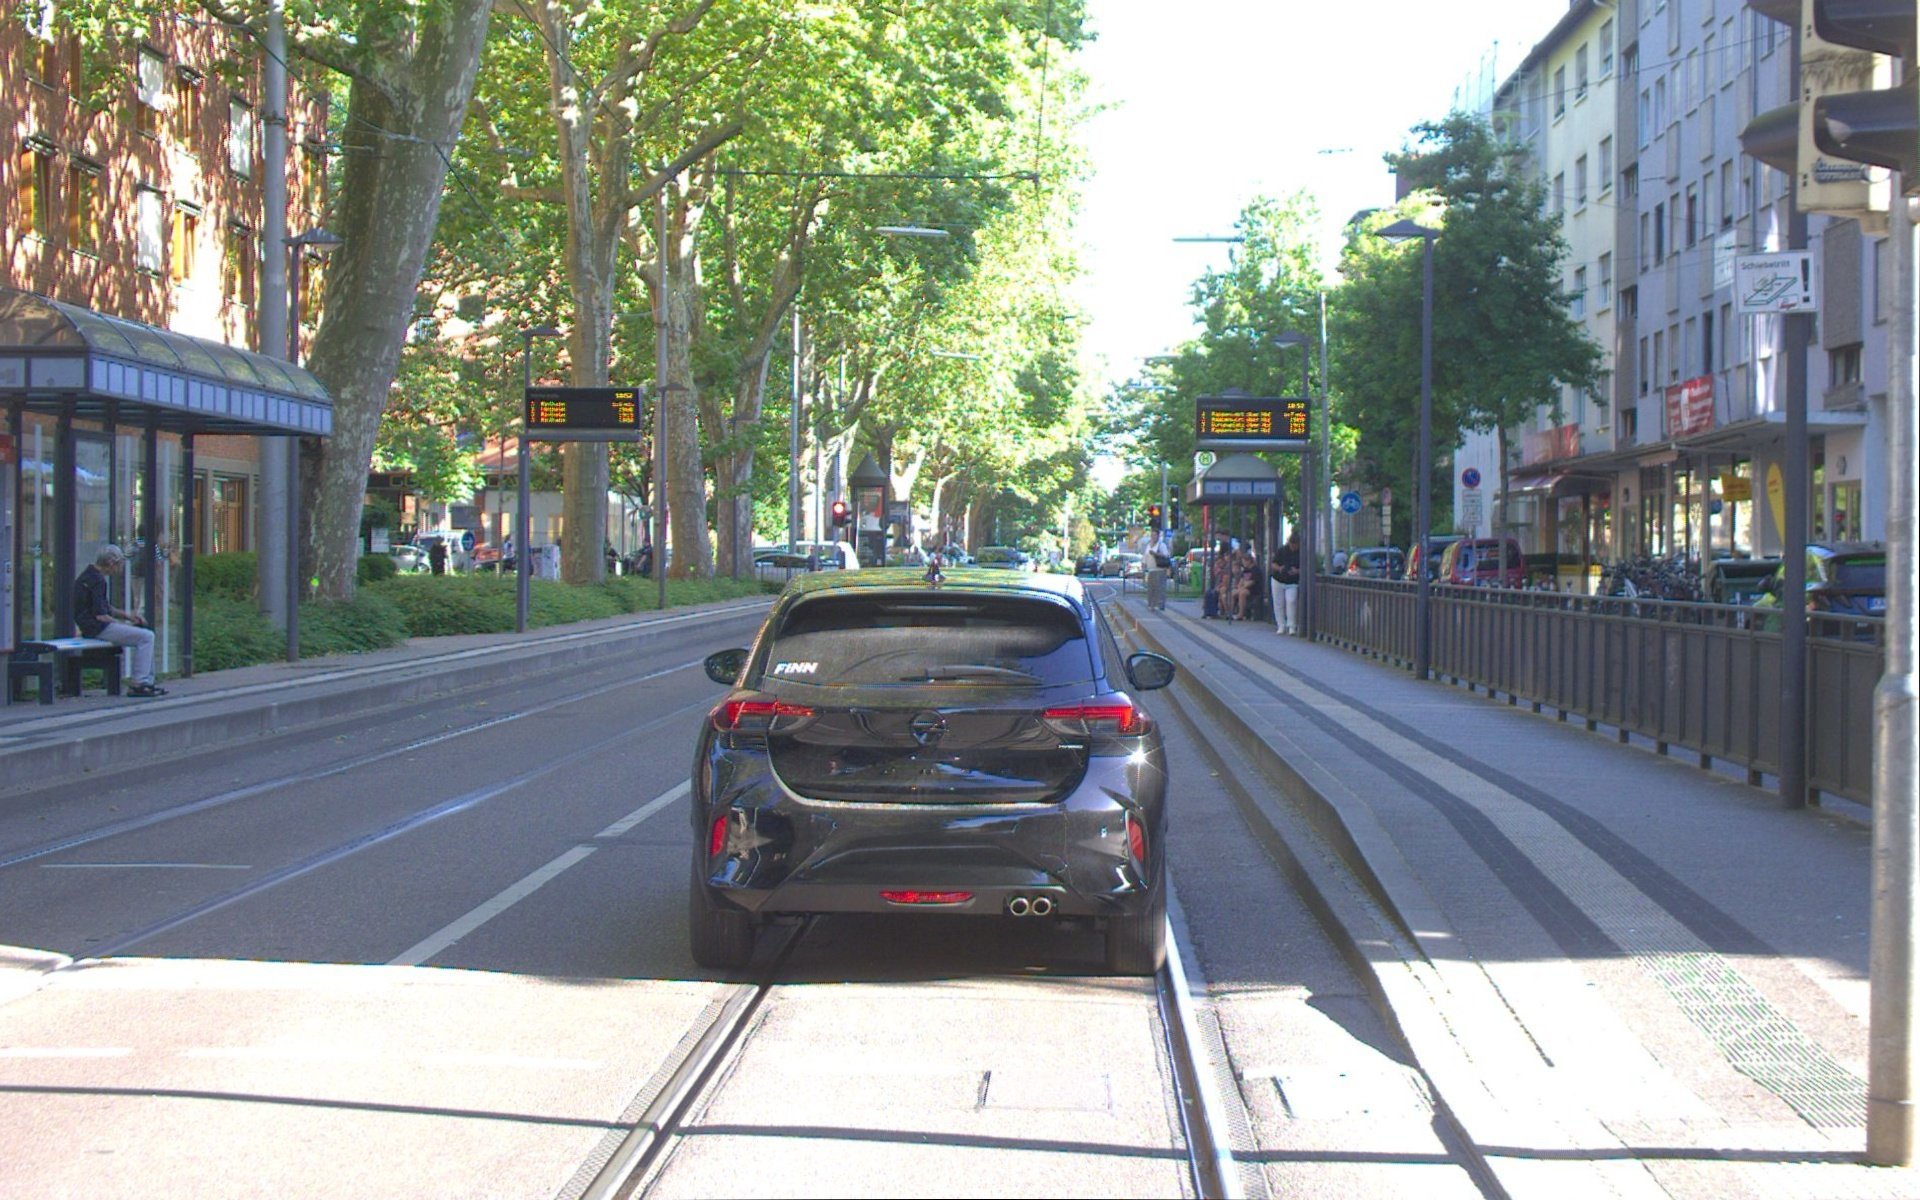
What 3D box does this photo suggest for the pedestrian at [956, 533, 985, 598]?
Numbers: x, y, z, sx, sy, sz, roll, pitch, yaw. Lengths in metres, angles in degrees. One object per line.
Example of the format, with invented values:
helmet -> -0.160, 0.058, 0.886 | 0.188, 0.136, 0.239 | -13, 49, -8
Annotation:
pedestrian -> 0.316, -1.071, 106.986 | 0.676, 2.007, 0.701 | 3, 1, 14

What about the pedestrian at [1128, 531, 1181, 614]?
pedestrian -> 4.060, -0.568, 71.785 | 0.751, 1.703, 0.761 | 2, 0, 37

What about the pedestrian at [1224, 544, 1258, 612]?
pedestrian -> 5.211, -0.408, 63.720 | 0.534, 1.226, 0.510 | 1, 0, -2

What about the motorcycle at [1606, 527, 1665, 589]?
motorcycle -> 14.323, -0.876, 72.950 | 0.892, 1.276, 2.043 | 2, 0, 2

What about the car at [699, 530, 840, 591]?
car -> -5.711, -1.180, 103.012 | 4.113, 1.695, 1.884 | 1, 0, -5

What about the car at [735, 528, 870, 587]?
car -> -5.293, -1.425, 115.003 | 4.384, 1.845, 2.000 | 1, 0, -5

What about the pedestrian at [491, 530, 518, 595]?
pedestrian -> -13.992, -1.148, 105.572 | 0.672, 1.943, 0.498 | 3, 1, -1

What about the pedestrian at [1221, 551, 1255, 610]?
pedestrian -> 5.198, -0.362, 64.320 | 0.534, 1.096, 0.551 | 1, 0, -2

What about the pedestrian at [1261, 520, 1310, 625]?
pedestrian -> 5.004, -0.421, 52.875 | 0.631, 1.571, 0.870 | 3, 1, 2

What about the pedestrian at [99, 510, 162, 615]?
pedestrian -> -13.316, -0.602, 55.196 | 0.735, 1.666, 0.861 | 1, 0, 2

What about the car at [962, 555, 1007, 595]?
car -> 0.971, -1.007, 137.013 | 1.745, 1.539, 4.000 | 1, 0, 0

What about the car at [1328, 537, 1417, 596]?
car -> 11.008, -0.895, 91.983 | 1.993, 1.481, 4.000 | 2, 0, 2

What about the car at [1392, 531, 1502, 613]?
car -> 11.266, -0.650, 79.737 | 1.993, 1.791, 4.000 | 2, 0, 1

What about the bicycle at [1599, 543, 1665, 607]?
bicycle -> 12.196, -0.451, 62.454 | 0.410, 1.132, 2.204 | 1, 0, -9

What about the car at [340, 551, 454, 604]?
car -> -22.959, -0.919, 140.353 | 4.250, 2.007, 2.000 | 2, 0, 2

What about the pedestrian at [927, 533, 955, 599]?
pedestrian -> -0.594, -1.061, 107.128 | 0.675, 2.007, 0.701 | 3, 1, 8

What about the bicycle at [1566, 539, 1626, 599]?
bicycle -> 12.294, -0.601, 66.503 | 0.597, 1.132, 2.204 | 1, 0, -4

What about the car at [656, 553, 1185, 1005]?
car -> -0.142, 0.582, 13.314 | 1.760, 1.503, 3.683 | 0, 0, 0

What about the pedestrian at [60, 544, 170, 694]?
pedestrian -> -6.685, 0.147, 27.223 | 0.705, 1.164, 0.659 | 0, 0, -1

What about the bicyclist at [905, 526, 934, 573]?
bicyclist -> -1.521, -1.886, 128.295 | 0.941, 1.697, 1.152 | 2, 0, 5

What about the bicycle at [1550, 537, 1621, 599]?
bicycle -> 11.822, -0.603, 65.051 | 0.597, 1.132, 2.204 | 1, 0, -9

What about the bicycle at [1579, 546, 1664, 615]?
bicycle -> 11.339, -0.340, 58.969 | 0.602, 1.132, 2.435 | 1, 0, -9

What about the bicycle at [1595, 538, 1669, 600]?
bicycle -> 12.500, -0.577, 64.014 | 0.597, 1.132, 2.204 | 1, 0, -9

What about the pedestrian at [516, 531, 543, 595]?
pedestrian -> -13.125, -1.131, 104.803 | 0.672, 1.943, 0.498 | 3, 1, -1

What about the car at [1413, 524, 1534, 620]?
car -> 10.877, -0.592, 73.040 | 1.993, 1.946, 4.000 | 2, 0, 1

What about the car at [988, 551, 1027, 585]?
car -> 2.482, -1.659, 180.039 | 1.993, 1.687, 4.000 | 1, 0, 0

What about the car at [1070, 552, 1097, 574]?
car -> 8.883, -2.649, 247.856 | 1.745, 1.539, 4.000 | 1, 0, 0

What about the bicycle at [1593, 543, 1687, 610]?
bicycle -> 11.872, -0.421, 60.124 | 0.611, 1.132, 2.922 | 1, 0, -9

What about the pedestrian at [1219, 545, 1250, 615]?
pedestrian -> 5.187, -0.380, 64.927 | 0.502, 1.300, 0.429 | 1, 0, -2

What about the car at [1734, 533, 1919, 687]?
car -> 10.093, 0.103, 38.702 | 1.857, 1.610, 4.397 | 2, 0, 2

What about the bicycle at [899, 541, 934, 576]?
bicycle -> -1.604, -1.524, 127.389 | 0.955, 1.236, 2.977 | 2, 0, 5

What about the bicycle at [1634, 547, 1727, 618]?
bicycle -> 11.791, -0.296, 56.308 | 0.621, 1.132, 2.440 | 1, 0, -9

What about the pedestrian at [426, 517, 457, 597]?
pedestrian -> -12.795, -1.063, 84.838 | 0.672, 1.943, 0.498 | 1, 0, -1
